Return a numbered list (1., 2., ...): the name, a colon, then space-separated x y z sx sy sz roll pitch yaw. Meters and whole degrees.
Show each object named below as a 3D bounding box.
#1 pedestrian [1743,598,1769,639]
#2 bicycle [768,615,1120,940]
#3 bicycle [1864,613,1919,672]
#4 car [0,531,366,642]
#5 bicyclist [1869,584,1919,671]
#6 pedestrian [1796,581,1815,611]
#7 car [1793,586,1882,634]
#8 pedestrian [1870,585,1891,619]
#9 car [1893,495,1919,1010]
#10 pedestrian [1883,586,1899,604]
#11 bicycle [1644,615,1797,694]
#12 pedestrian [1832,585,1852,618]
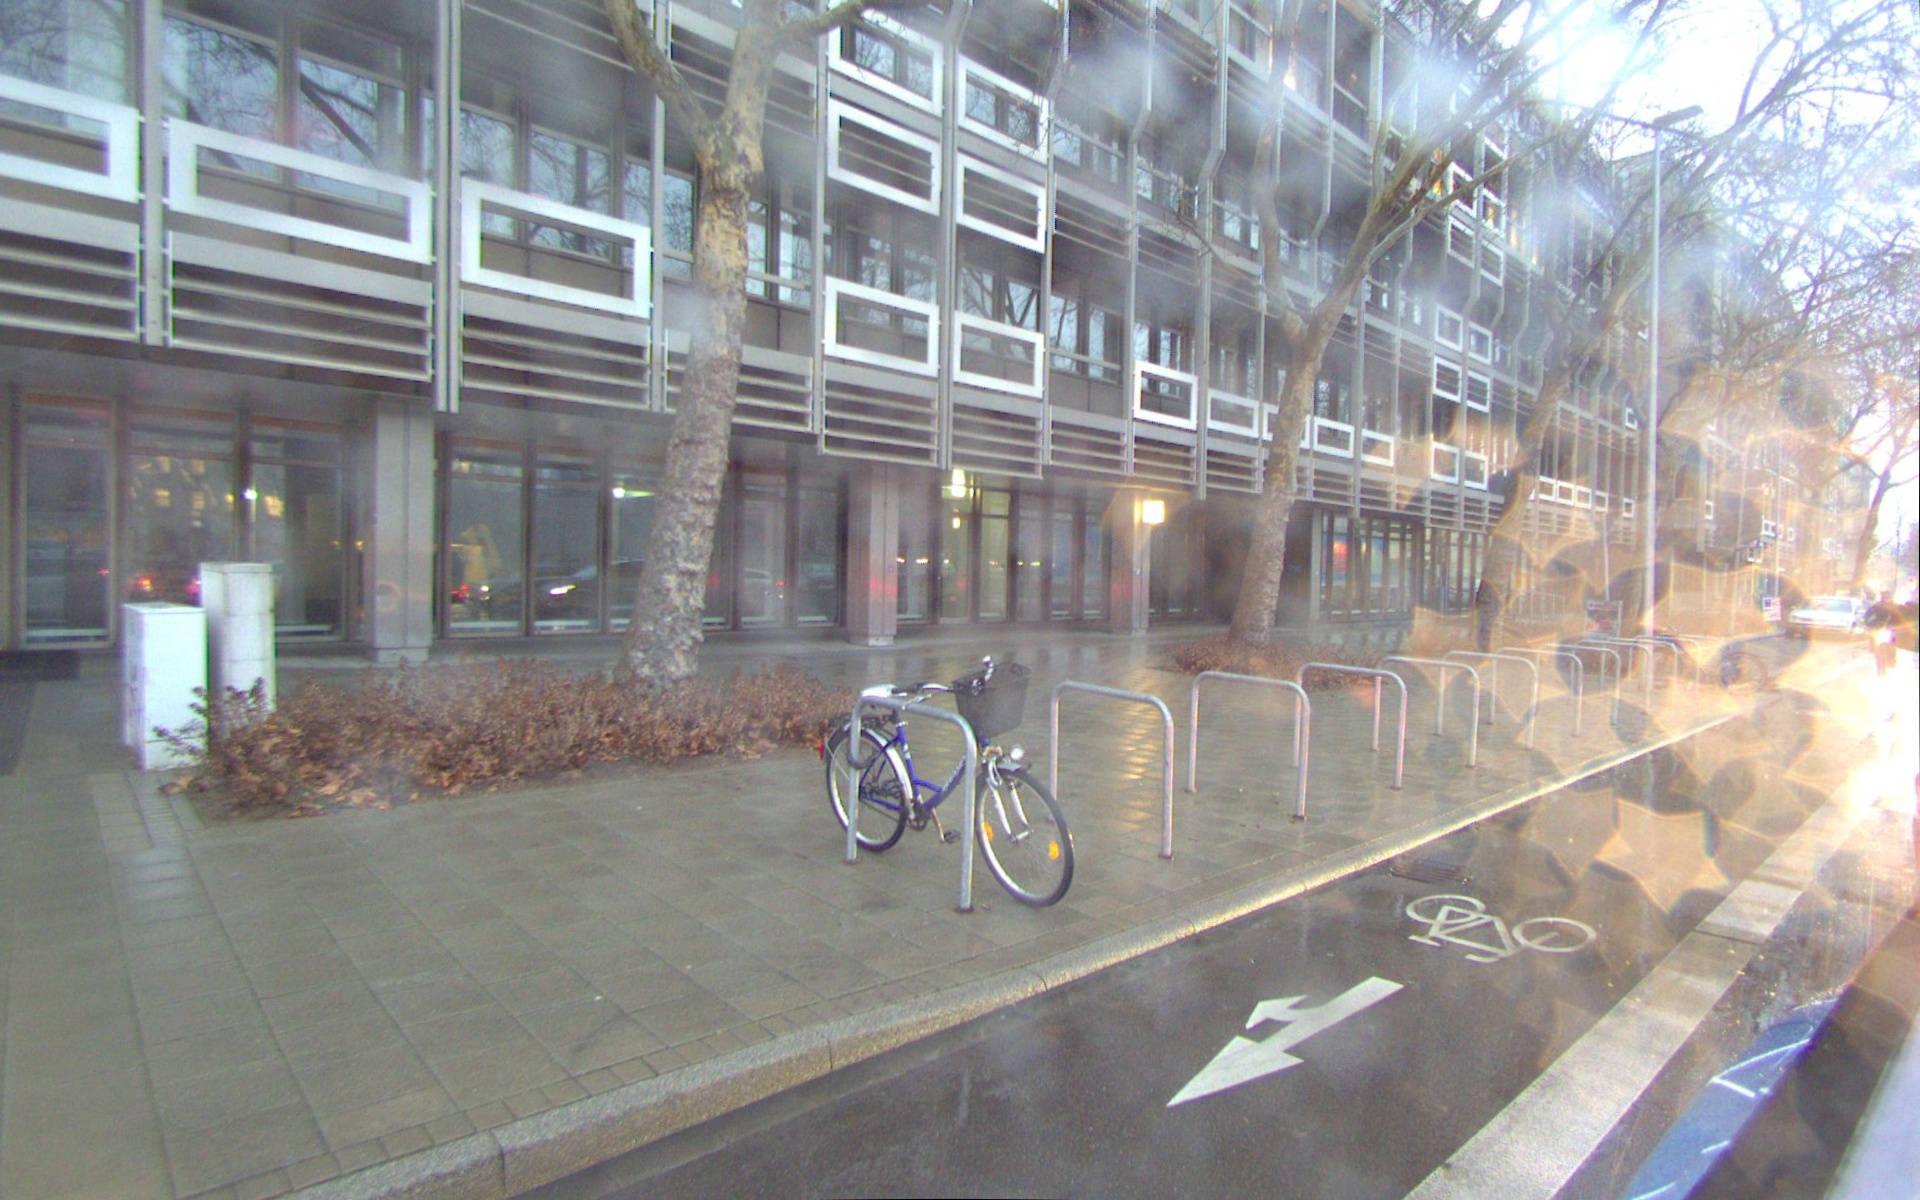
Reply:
1. pedestrian: 35.283 0.823 44.873 0.765 1.771 0.913 2 2 45
2. bicycle: -0.164 0.715 4.861 0.629 1.145 1.810 2 2 -41
3. bicycle: 18.716 0.830 20.250 1.752 1.108 0.709 1 0 -41
4. car: -10.646 -0.218 14.005 3.929 1.326 1.998 0 3 -40
5. bicyclist: 18.791 0.530 20.294 0.947 1.681 0.704 1 1 -41
6. pedestrian: 50.615 -0.234 60.595 0.765 1.771 0.913 2 2 45
7. car: 29.351 0.286 33.817 3.930 1.482 1.711 -1 1 -41
8. pedestrian: 48.891 0.106 53.766 0.765 1.771 0.913 2 2 45
9. car: 5.499 0.535 4.325 3.932 1.864 1.876 -1 0 -42
10. pedestrian: 69.055 -0.358 75.051 0.738 1.354 0.781 0 0 -41
11. bicycle: 11.688 0.802 15.599 0.864 1.004 1.704 0 4 -41
12. pedestrian: 49.484 0.074 56.777 0.765 1.771 0.913 2 2 45
